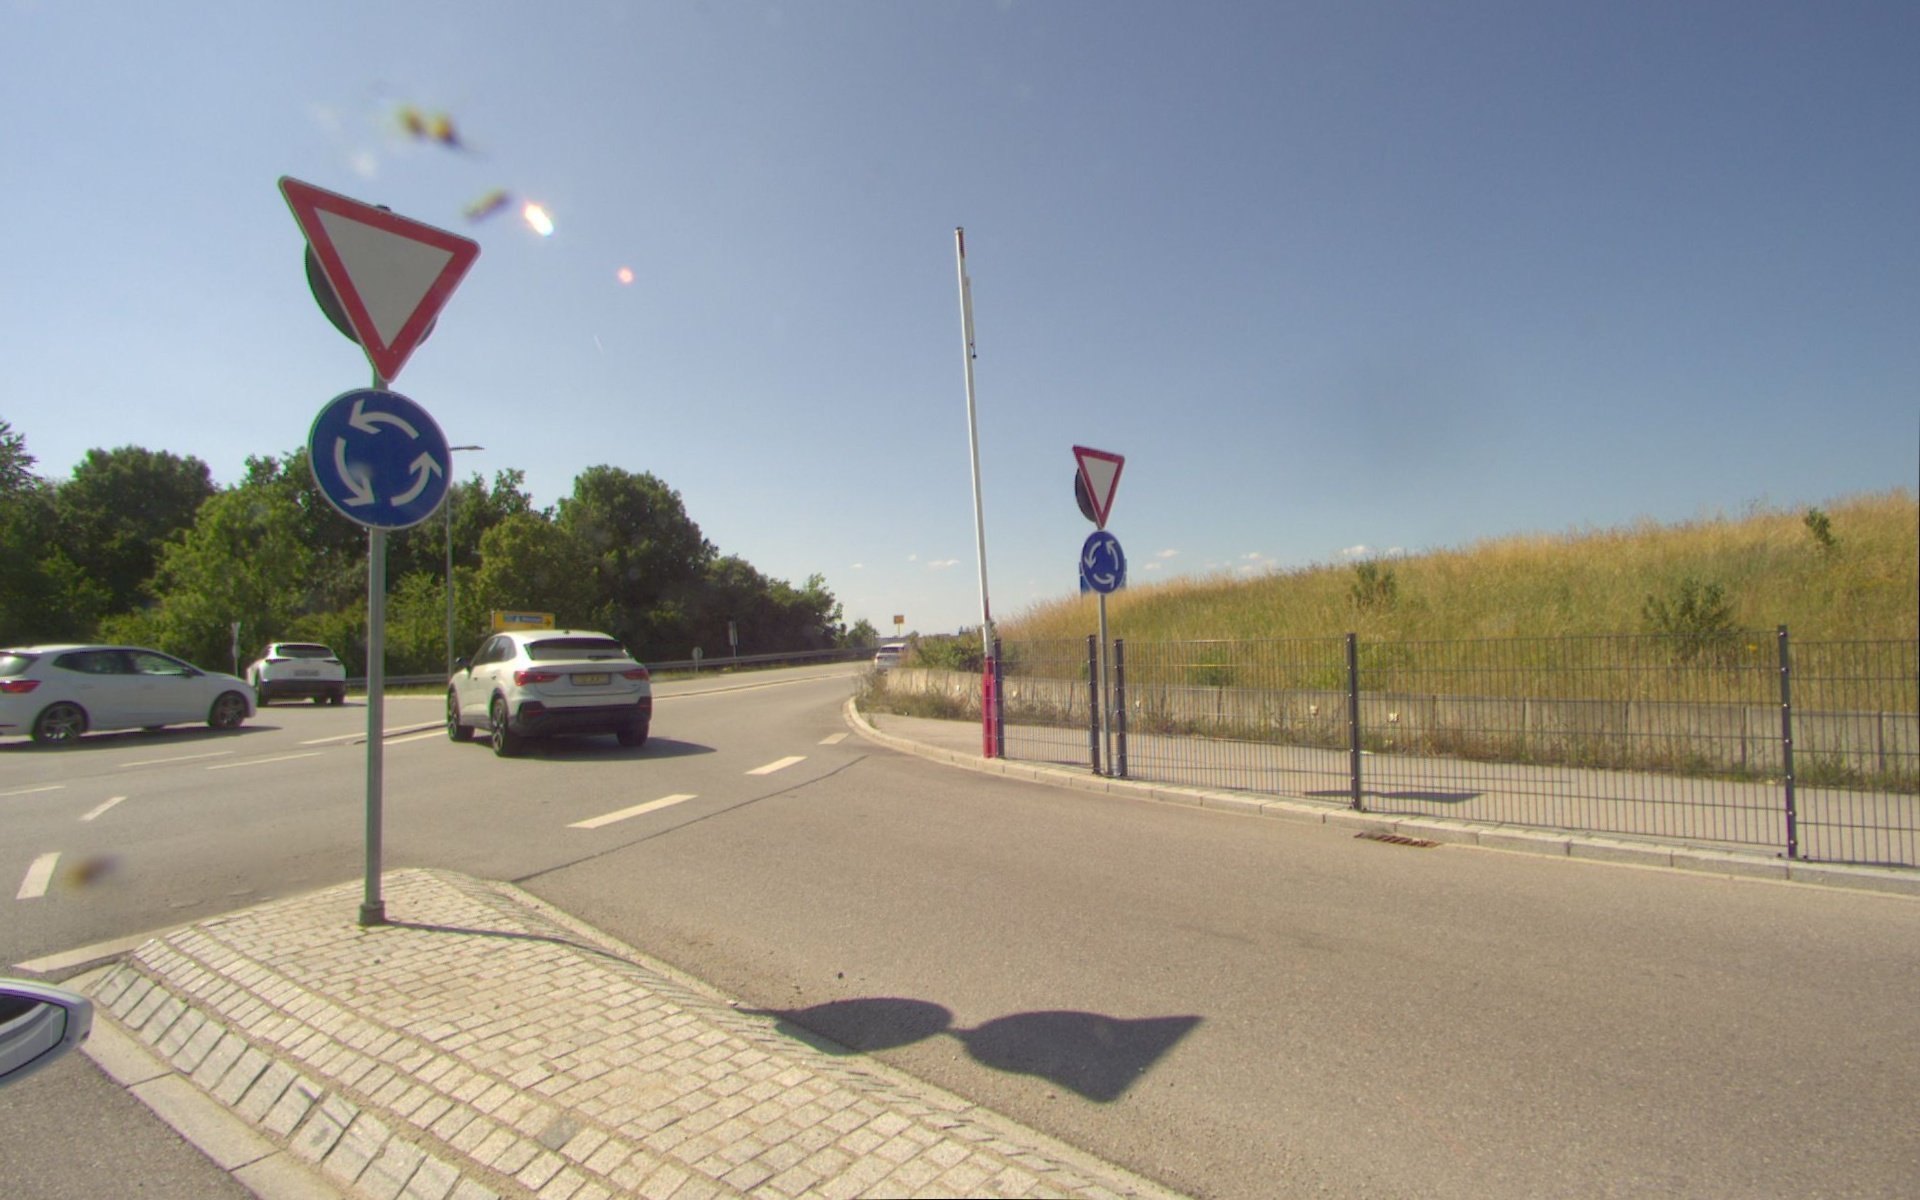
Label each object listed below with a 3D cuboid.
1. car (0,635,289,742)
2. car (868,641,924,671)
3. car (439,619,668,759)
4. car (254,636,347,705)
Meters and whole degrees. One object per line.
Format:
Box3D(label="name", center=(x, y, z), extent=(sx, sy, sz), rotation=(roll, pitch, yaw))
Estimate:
Box3D(label="car", center=(-13.124, 1.284, 15.674), extent=(1.758, 1.422, 4.417), rotation=(-1, -3, 11))
Box3D(label="car", center=(-3.013, 2.675, 47.955), extent=(1.543, 1.368, 4.341), rotation=(-1, -3, 12))
Box3D(label="car", center=(-5.725, 1.103, 13.775), extent=(1.826, 1.616, 4.292), rotation=(0, -2, -38))
Box3D(label="car", center=(-16.783, 1.749, 25.384), extent=(1.769, 1.549, 4.260), rotation=(-1, -2, -36))
